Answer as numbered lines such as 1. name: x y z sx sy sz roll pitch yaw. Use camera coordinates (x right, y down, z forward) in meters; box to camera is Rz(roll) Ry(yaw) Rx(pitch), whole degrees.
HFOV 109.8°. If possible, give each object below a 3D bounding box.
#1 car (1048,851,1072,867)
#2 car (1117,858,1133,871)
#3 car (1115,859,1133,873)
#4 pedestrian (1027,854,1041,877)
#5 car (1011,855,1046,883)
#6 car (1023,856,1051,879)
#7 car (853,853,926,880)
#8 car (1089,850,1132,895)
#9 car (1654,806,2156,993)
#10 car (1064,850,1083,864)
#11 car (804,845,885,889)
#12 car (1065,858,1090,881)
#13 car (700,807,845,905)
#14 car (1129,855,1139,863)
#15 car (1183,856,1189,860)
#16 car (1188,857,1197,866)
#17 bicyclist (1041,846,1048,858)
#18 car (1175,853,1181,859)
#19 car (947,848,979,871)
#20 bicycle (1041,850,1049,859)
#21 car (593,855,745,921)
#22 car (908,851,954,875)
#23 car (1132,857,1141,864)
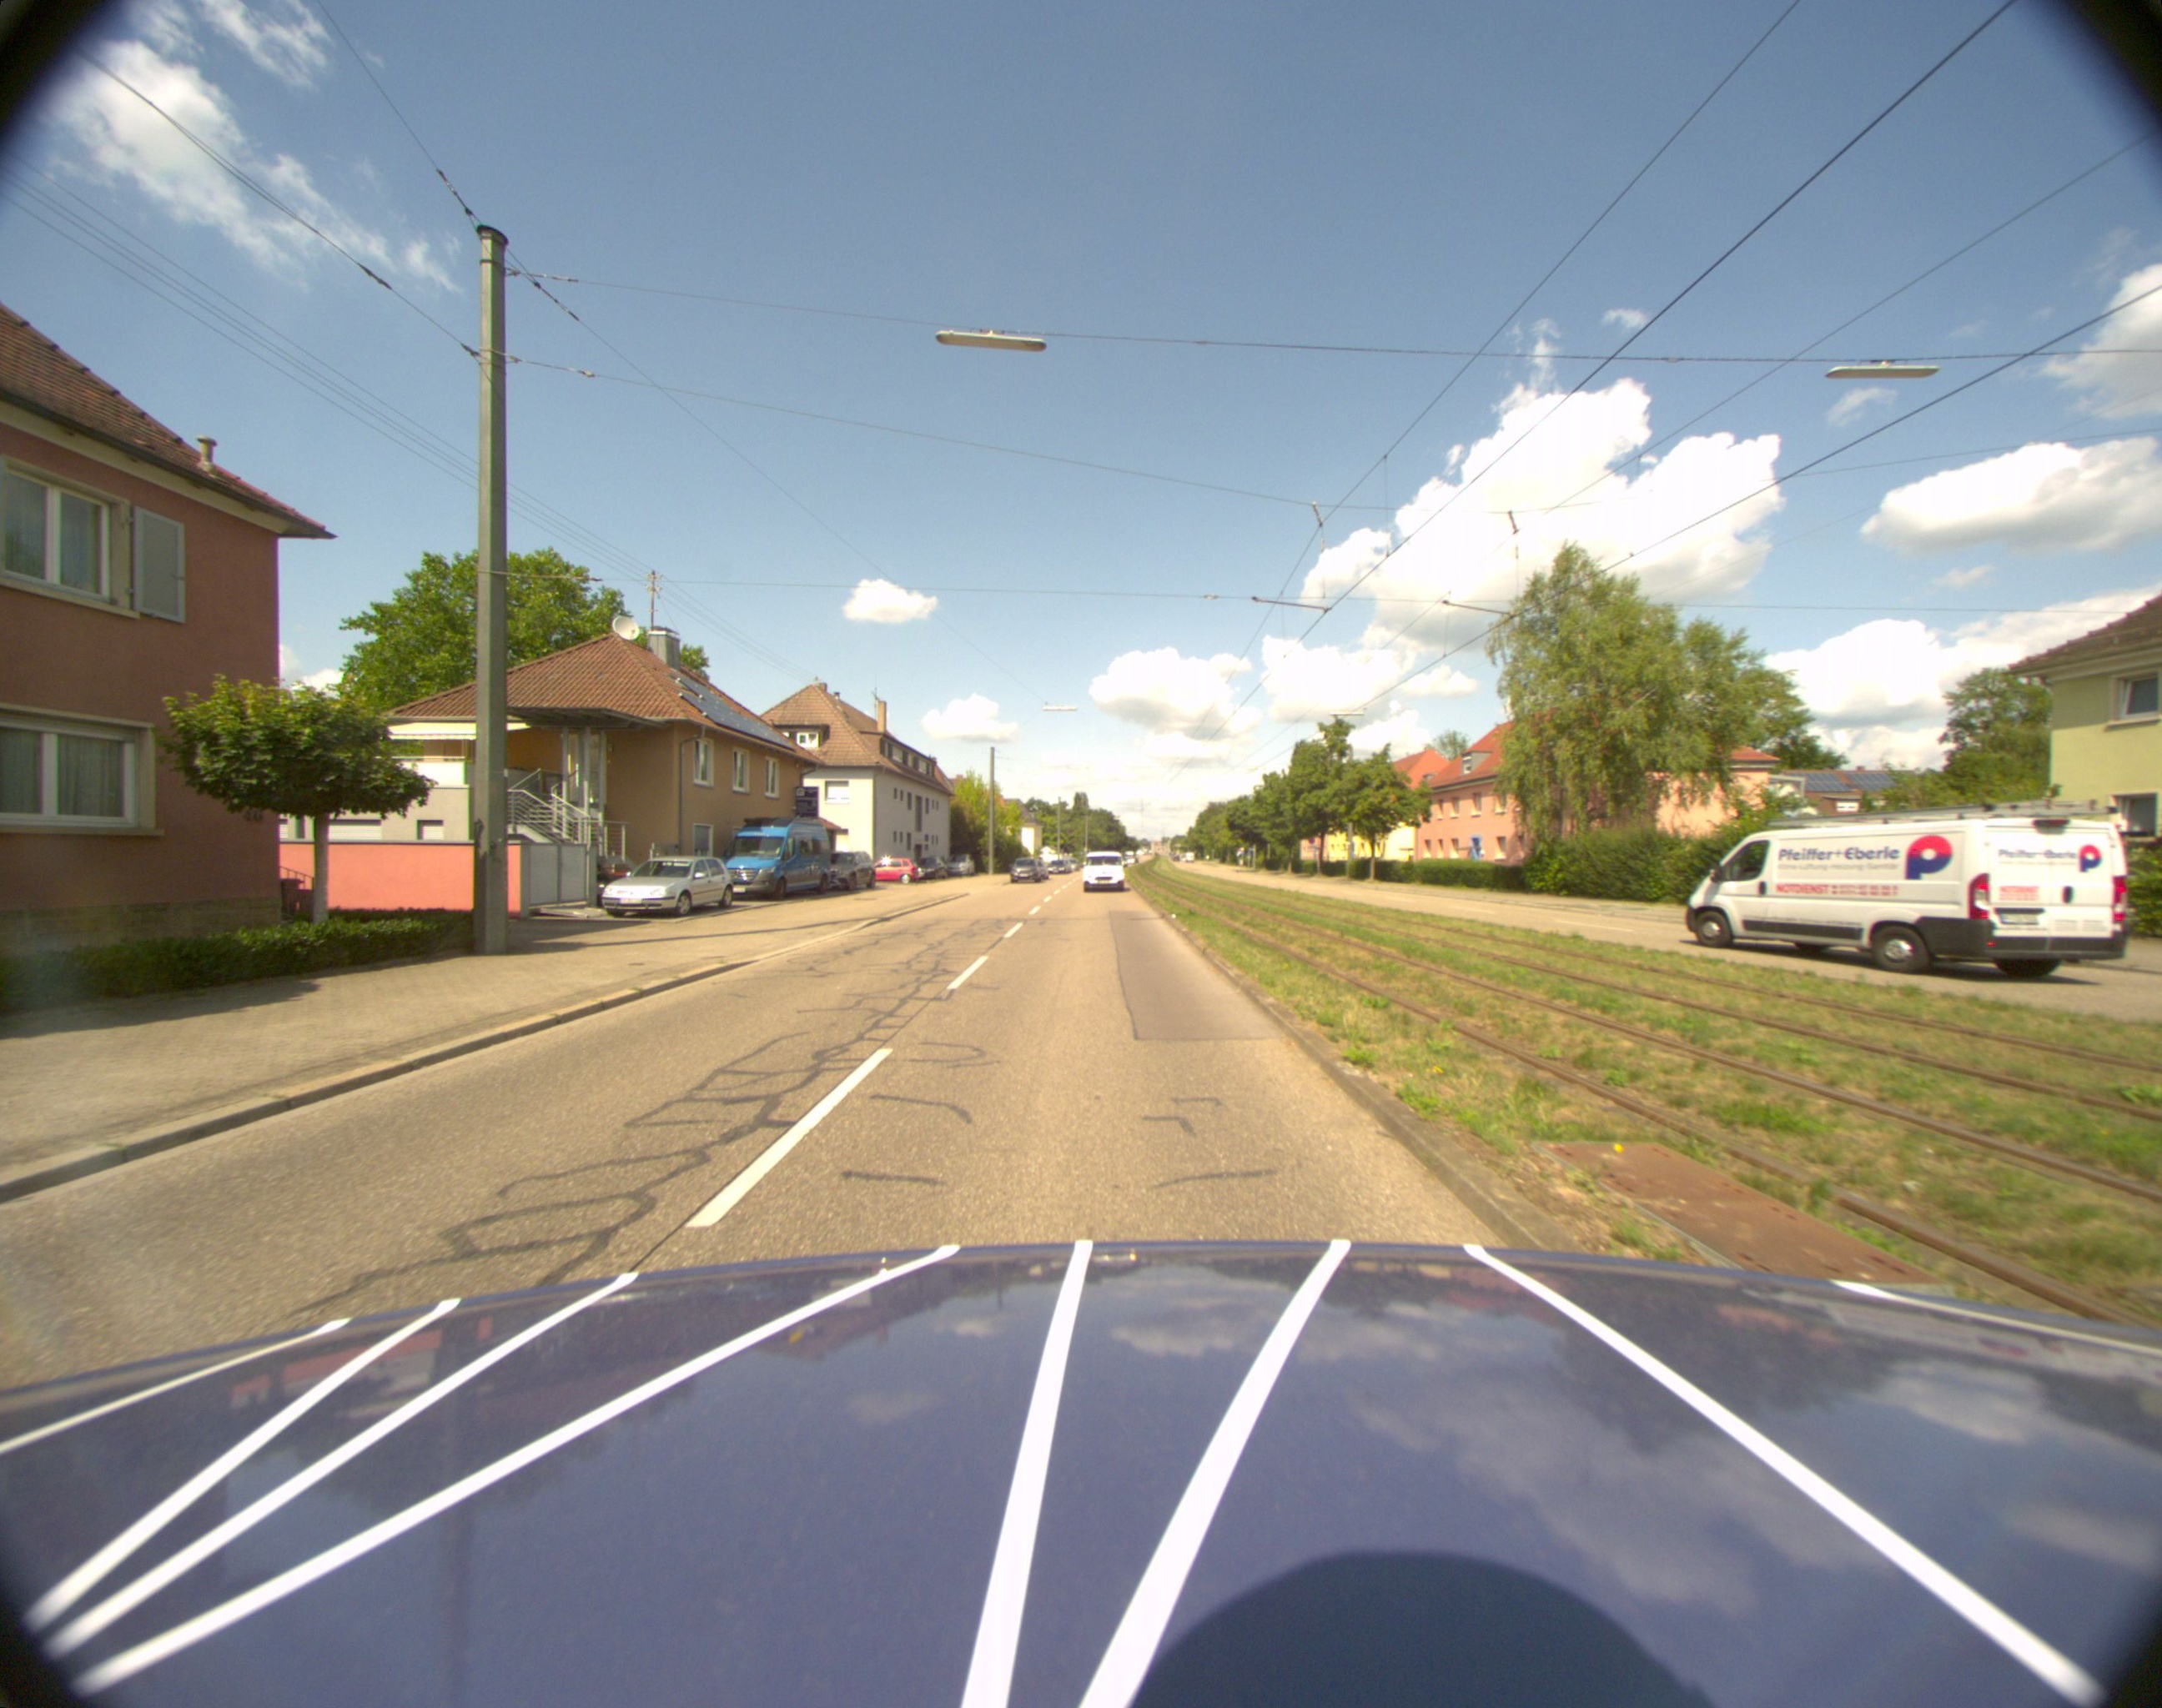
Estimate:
1. car: -2.013 0.489 74.141 1.904 1.435 5.059 -2 0 4
2. car: 6.040 1.462 103.784 1.998 1.576 4.001 -2 1 5
3. car: 5.095 1.393 89.008 1.998 1.477 4.000 -2 1 4
4. pedestrian: -4.102 0.983 66.425 1.114 1.935 1.092 0 1 3
5. car: -3.319 0.912 48.692 1.811 1.550 4.253 -2 1 0
6. car: -3.160 0.952 55.390 1.819 1.446 4.642 -2 1 -1
7. car: -10.732 0.680 42.809 3.658 1.372 1.726 -1 1 0
8. car: 1.272 0.765 34.509 1.777 1.850 4.375 -2 1 0
9. car: 12.535 0.552 12.362 2.202 2.358 5.330 1 1 -2
10. car: -0.842 0.366 88.871 1.740 1.481 4.095 -2 1 6
11. car: -9.994 0.516 32.521 1.841 1.701 4.864 1 0 1
12. car: -0.252 1.132 56.044 1.777 1.540 3.999 -2 1 0
13. car: -10.384 0.003 26.270 2.156 2.913 6.244 -2 1 2
14. car: 10.845 1.054 155.942 1.998 1.477 4.000 -2 1 4
15. car: 32.994 1.244 239.810 1.689 1.422 4.278 0 1 5
16. car: 29.987 2.041 204.875 2.036 2.422 5.780 1 1 6
17. bicyclist: -4.218 -0.259 88.682 0.689 1.345 0.665 0 1 12
18. car: 29.232 0.505 228.028 1.689 1.736 4.229 0 1 5
19. car: -9.019 0.385 58.505 1.761 1.637 4.768 0 1 0
20. bicycle: -4.192 0.074 88.805 0.555 1.059 1.524 0 1 12
21. car: -10.291 0.774 19.381 1.653 1.401 4.348 0 1 -3
22. car: -9.515 0.541 48.553 1.803 1.415 4.857 0 1 2
23. car: 12.774 1.437 175.245 1.998 1.477 4.000 -2 1 4
